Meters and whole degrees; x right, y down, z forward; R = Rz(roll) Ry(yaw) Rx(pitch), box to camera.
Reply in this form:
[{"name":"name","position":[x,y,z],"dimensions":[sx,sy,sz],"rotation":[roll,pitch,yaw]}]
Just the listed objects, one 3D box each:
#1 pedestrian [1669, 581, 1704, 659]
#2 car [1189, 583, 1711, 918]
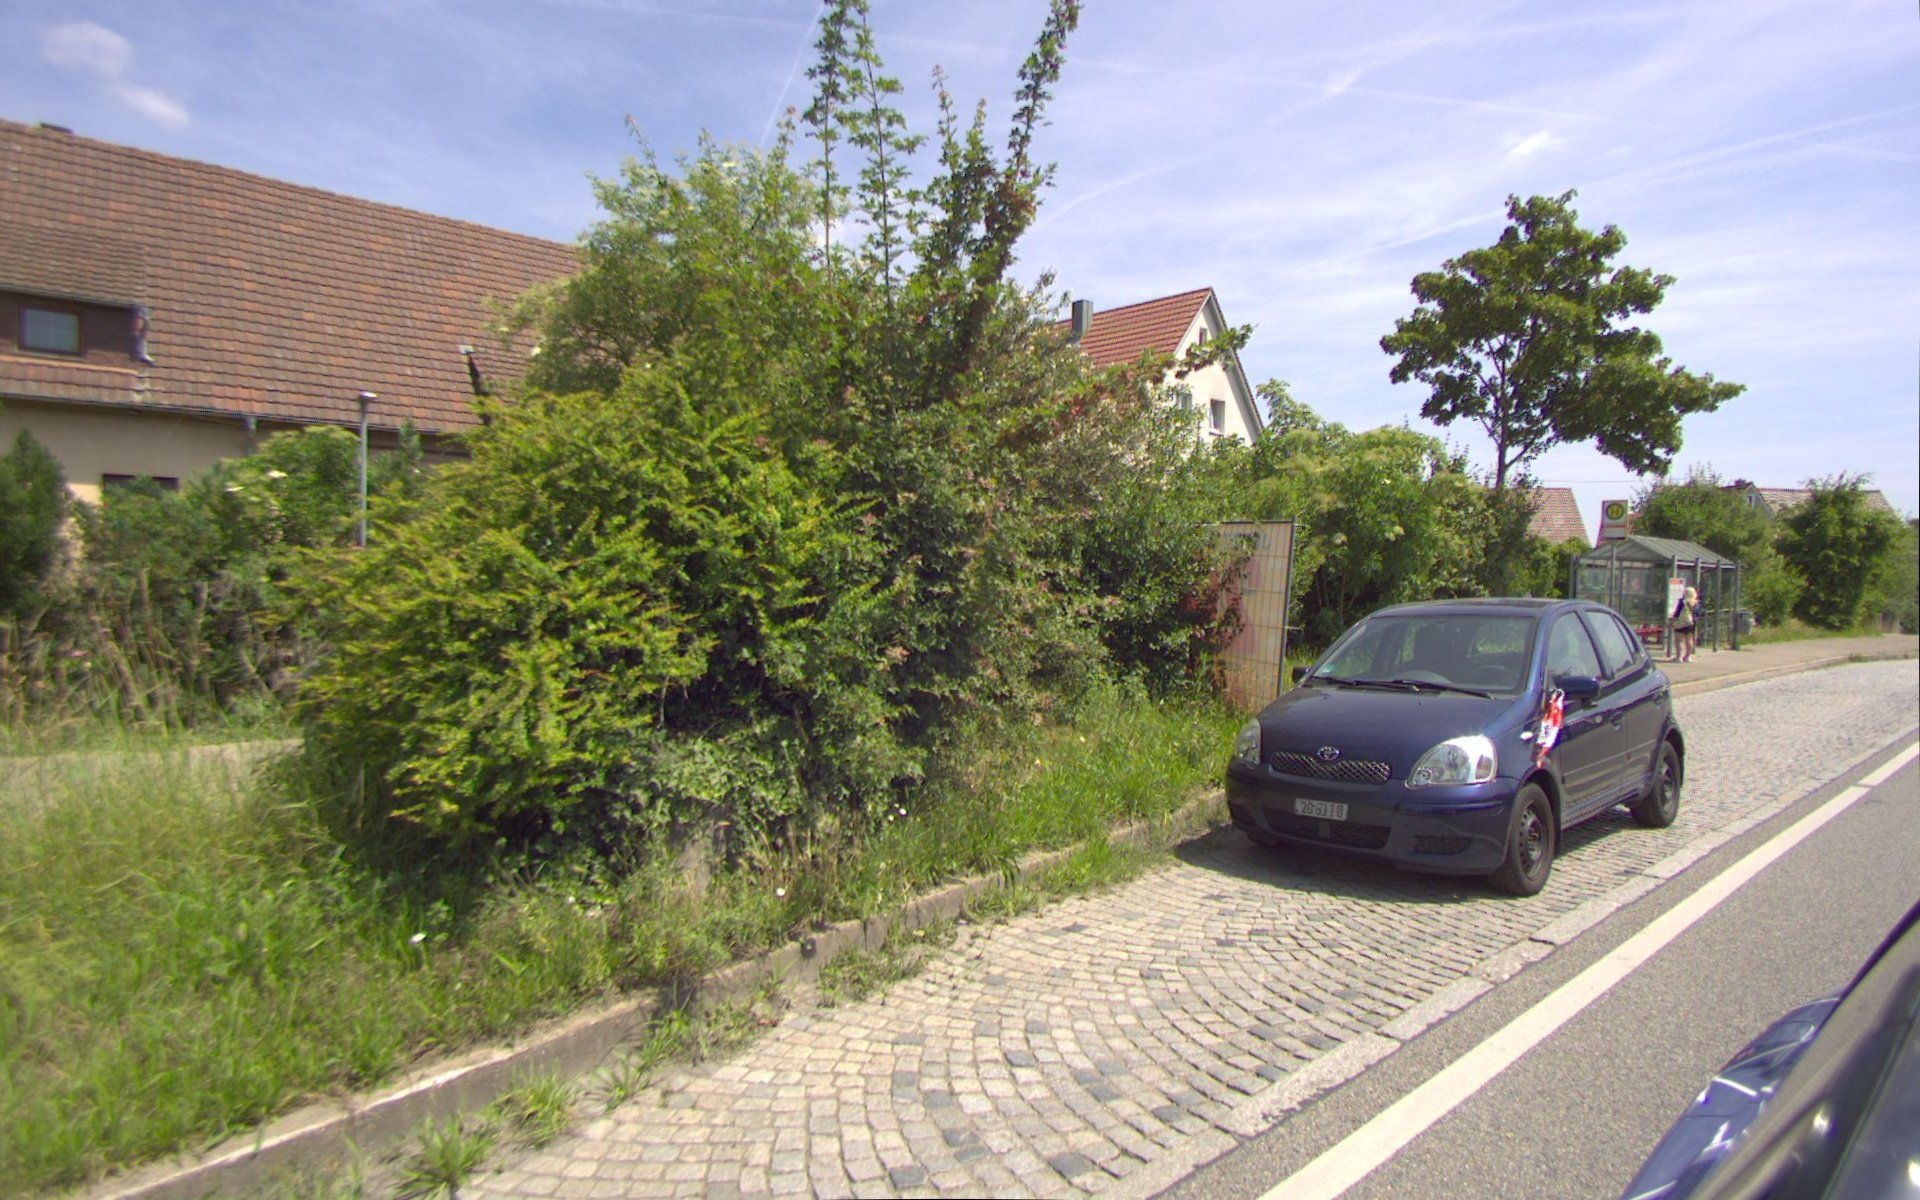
[{"name":"pedestrian","position":[15.039,0.396,20.969],"dimensions":[0.518,1.568,0.556],"rotation":[1,1,32]},{"name":"car","position":[3.179,0.693,6.318],"dimensions":[3.489,1.504,1.635],"rotation":[0,-1,-40]}]
